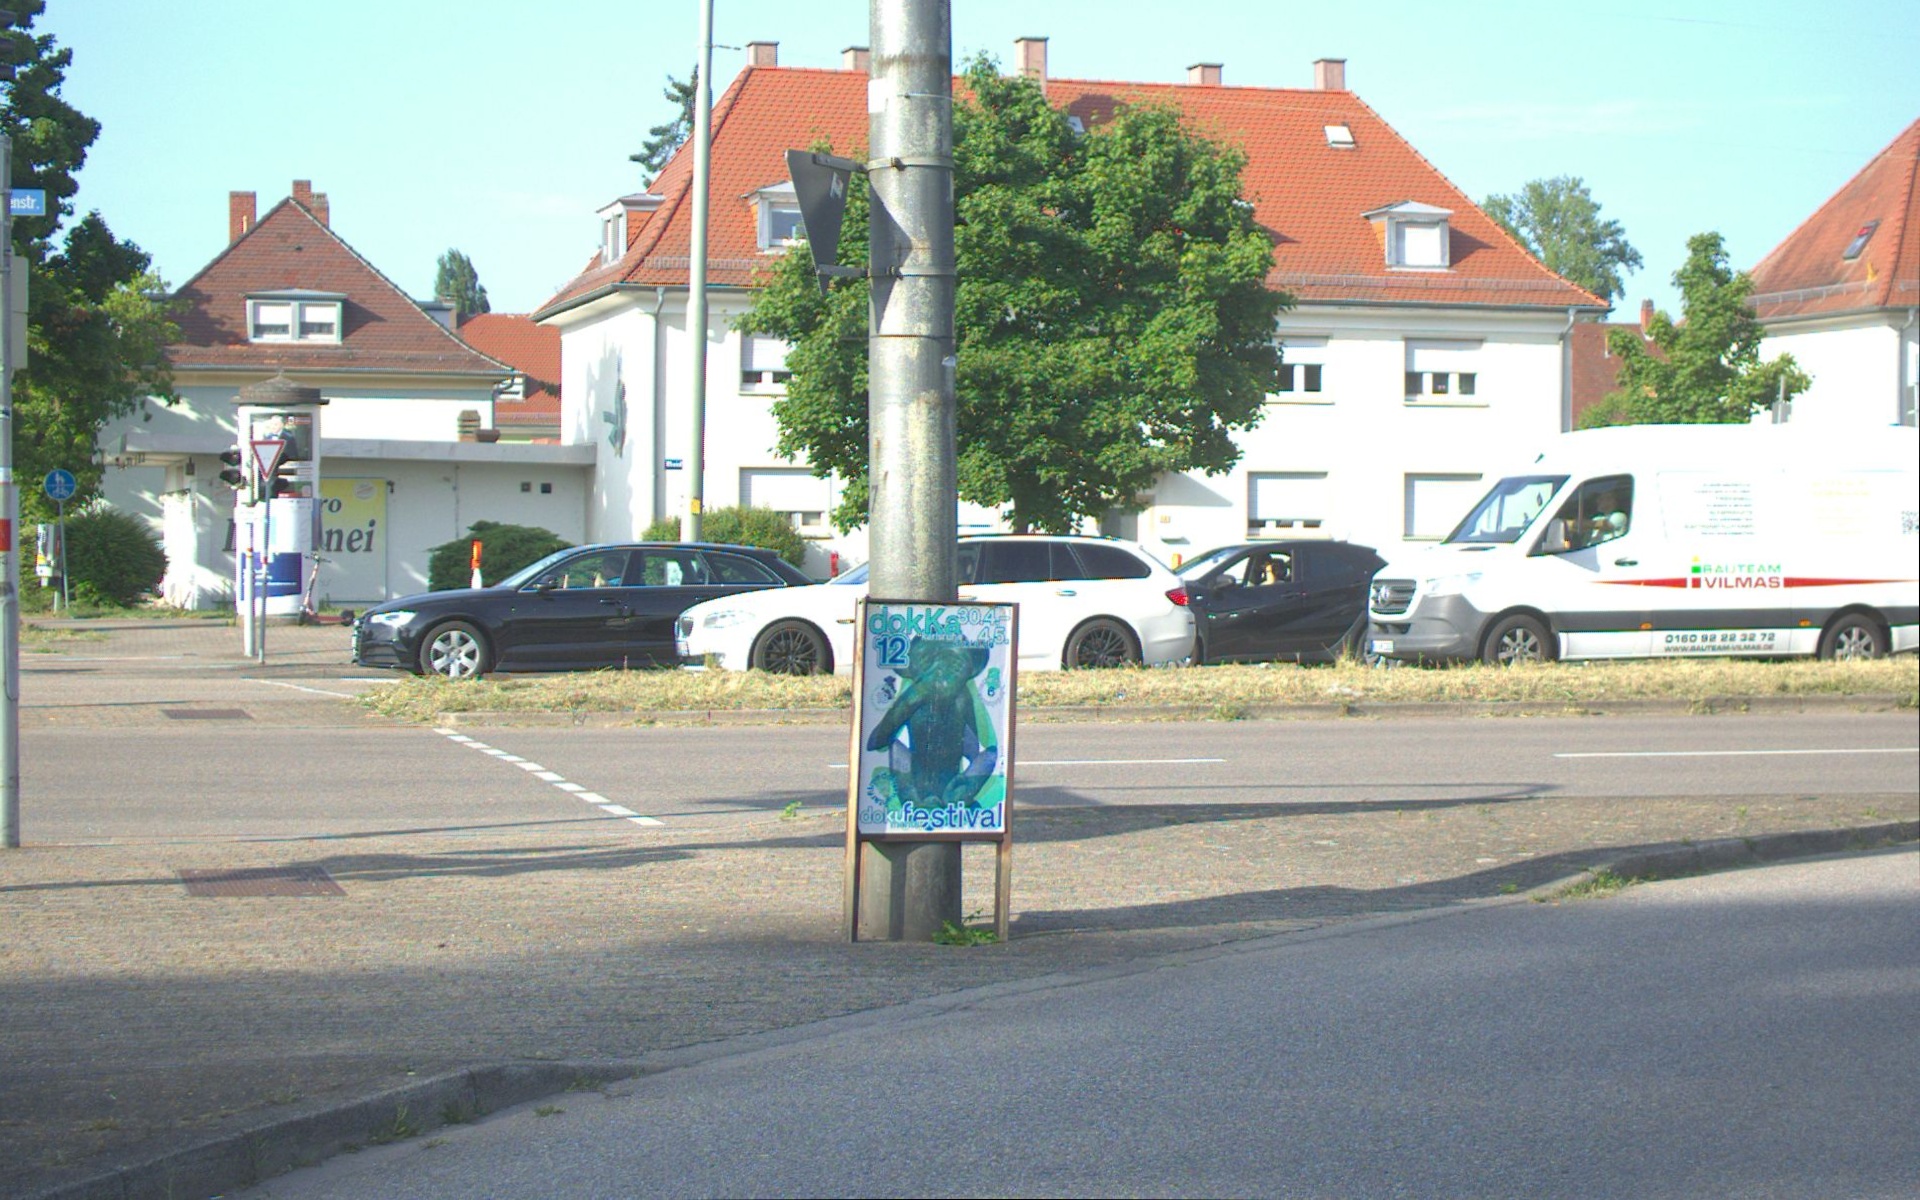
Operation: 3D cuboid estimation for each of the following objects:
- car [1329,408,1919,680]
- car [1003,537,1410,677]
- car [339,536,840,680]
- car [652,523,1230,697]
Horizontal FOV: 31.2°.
[{"bbox_3d":[6.977,-0.537,34.469,6.206,2.575,2.001,0,1,-17],"label":"car"},{"bbox_3d":[2.625,0.057,36.767,3.986,1.448,1.716,0,1,-16],"label":"car"},{"bbox_3d":[-3.767,0.061,34.896,4.822,1.406,1.716,0,1,-16],"label":"car"},{"bbox_3d":[-0.191,0.072,32.219,5.093,1.557,1.840,0,1,-16],"label":"car"}]
